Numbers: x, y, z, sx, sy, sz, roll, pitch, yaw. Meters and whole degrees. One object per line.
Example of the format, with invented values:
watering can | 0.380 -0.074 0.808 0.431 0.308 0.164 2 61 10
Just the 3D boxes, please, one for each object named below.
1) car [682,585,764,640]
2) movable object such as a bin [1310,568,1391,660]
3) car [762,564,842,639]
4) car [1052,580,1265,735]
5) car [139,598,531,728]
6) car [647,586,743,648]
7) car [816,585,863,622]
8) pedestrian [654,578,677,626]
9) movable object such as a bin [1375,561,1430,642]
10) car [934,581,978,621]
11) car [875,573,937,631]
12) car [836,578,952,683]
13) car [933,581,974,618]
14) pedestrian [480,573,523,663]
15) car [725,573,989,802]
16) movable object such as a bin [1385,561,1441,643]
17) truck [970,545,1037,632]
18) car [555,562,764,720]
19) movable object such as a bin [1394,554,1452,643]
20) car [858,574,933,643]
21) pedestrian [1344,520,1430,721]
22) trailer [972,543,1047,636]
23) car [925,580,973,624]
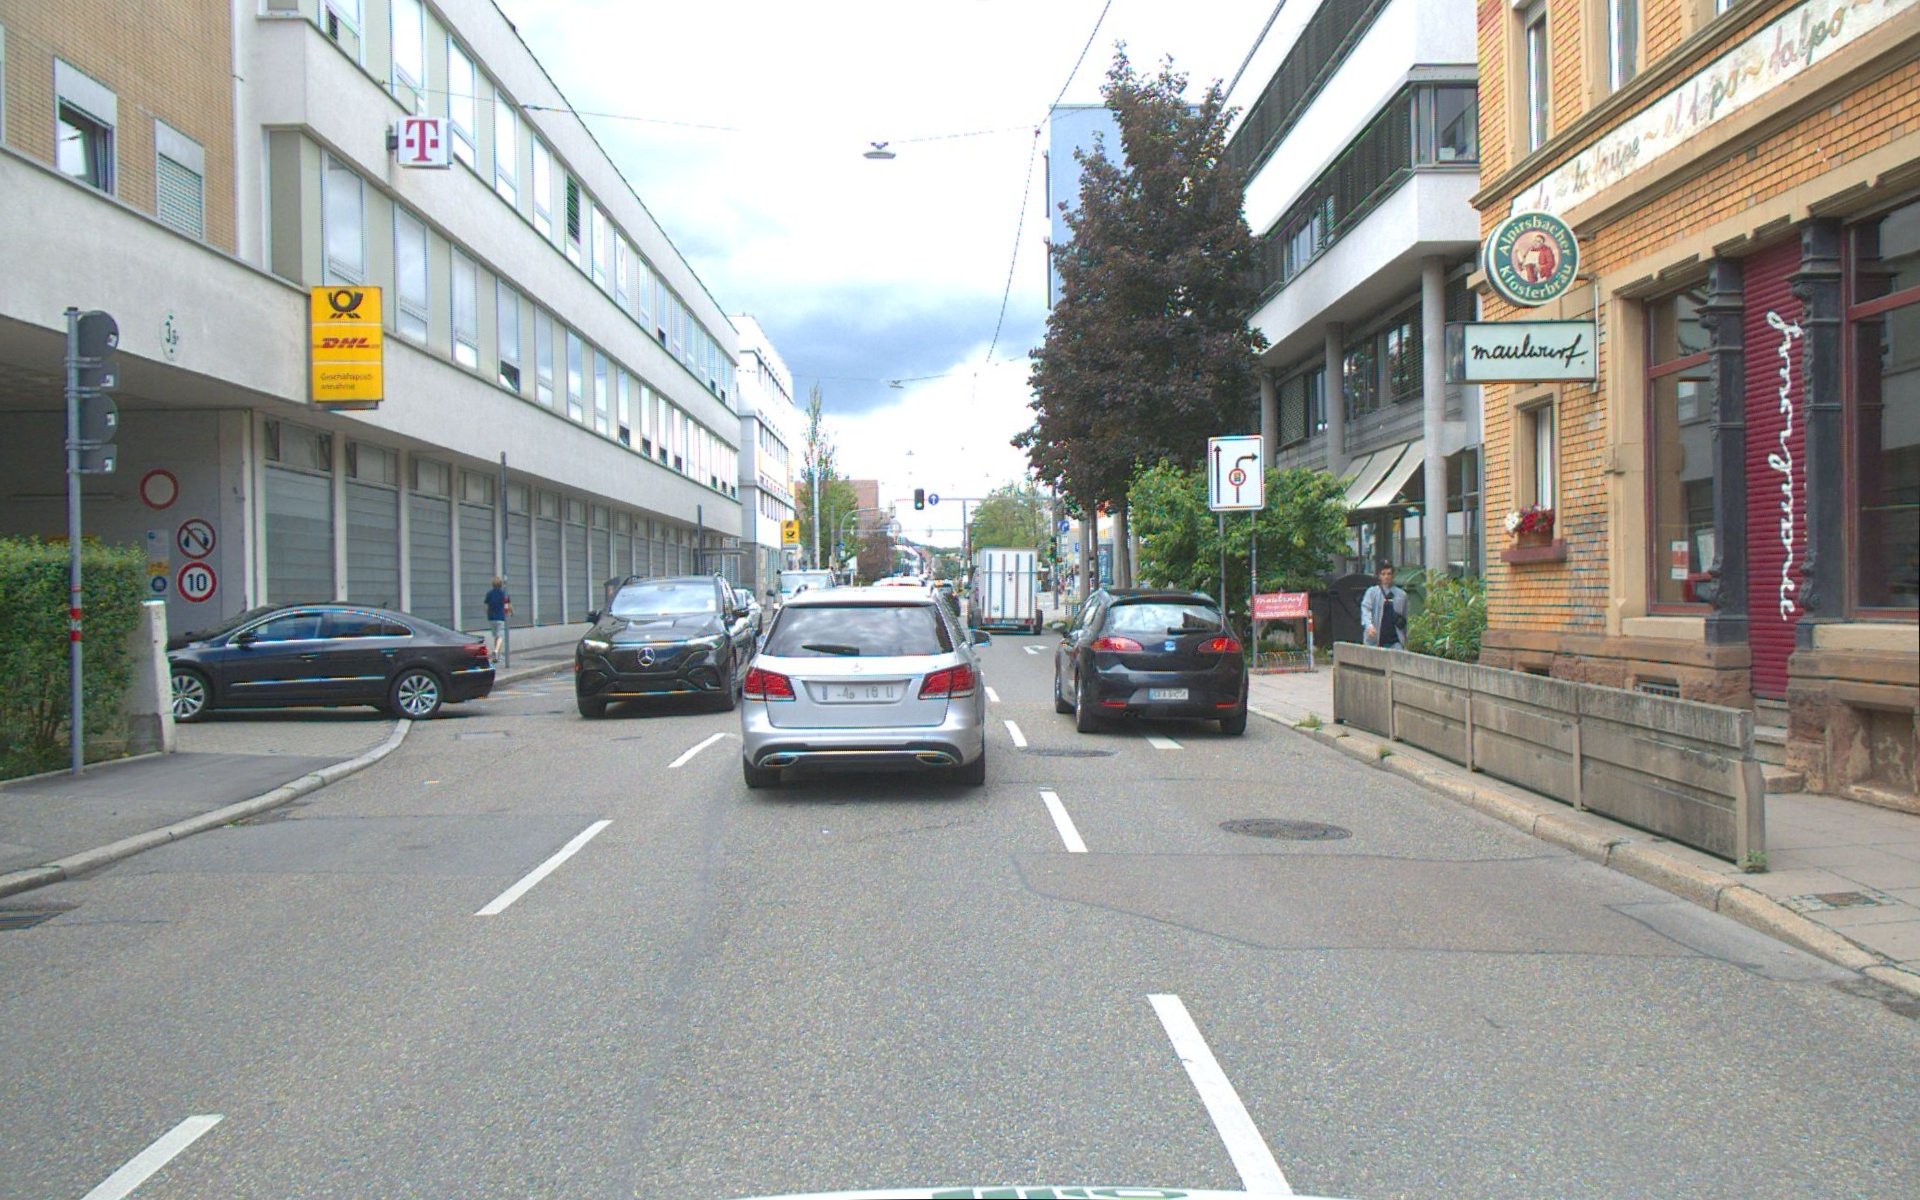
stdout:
car | -7.092 0.334 49.930 1.953 1.543 4.174 -1 1 -2
movable object such as a bin | 6.695 0.224 28.460 0.924 1.496 1.445 -3 0 -3
car | -4.644 0.020 49.233 1.953 2.048 4.901 -2 1 -2
car | 2.014 0.529 17.795 1.730 1.458 3.827 -1 1 -1
car | -7.772 0.709 20.674 4.354 1.389 1.767 -1 1 -31
car | -7.025 0.414 44.226 1.953 1.543 4.174 -1 1 -2
car | -5.062 0.120 69.721 1.733 1.438 4.174 -2 1 -2
pedestrian | -10.273 0.079 57.678 0.642 1.651 0.681 -1 0 0
movable object such as a bin | 8.726 0.035 32.643 0.804 1.530 0.732 -3 -1 0
car | -0.182 0.034 69.669 1.767 1.629 3.736 0 1 -2
car | -1.592 0.040 48.833 1.767 1.629 3.736 0 1 -2
car | -1.067 0.444 27.343 1.767 1.580 3.736 -1 1 -2
car | -0.312 -0.047 74.993 1.767 1.629 3.736 0 1 -2
pedestrian | -9.338 0.365 33.709 0.629 1.800 0.809 -1 0 -2
car | -0.751 0.571 13.113 1.767 1.518 3.736 -1 1 -2
movable object such as a bin | 8.732 0.033 31.886 0.804 1.516 0.732 -3 -1 0
truck | 1.369 -0.379 53.049 1.953 2.653 3.259 -1 1 -2
car | -3.799 0.452 21.729 1.953 1.769 4.552 -3 1 -2
movable object such as a bin | 8.713 -0.024 31.131 0.804 1.617 0.732 -3 -1 0
car | -1.581 0.188 41.117 1.767 1.629 3.736 0 1 -2
pedestrian | 4.465 0.203 17.336 0.679 2.049 0.676 -1 0 -2
trailer | 1.448 -0.339 50.288 1.953 2.653 5.348 -1 1 -2
car | -0.447 0.051 62.819 1.767 1.629 3.736 0 1 -2
